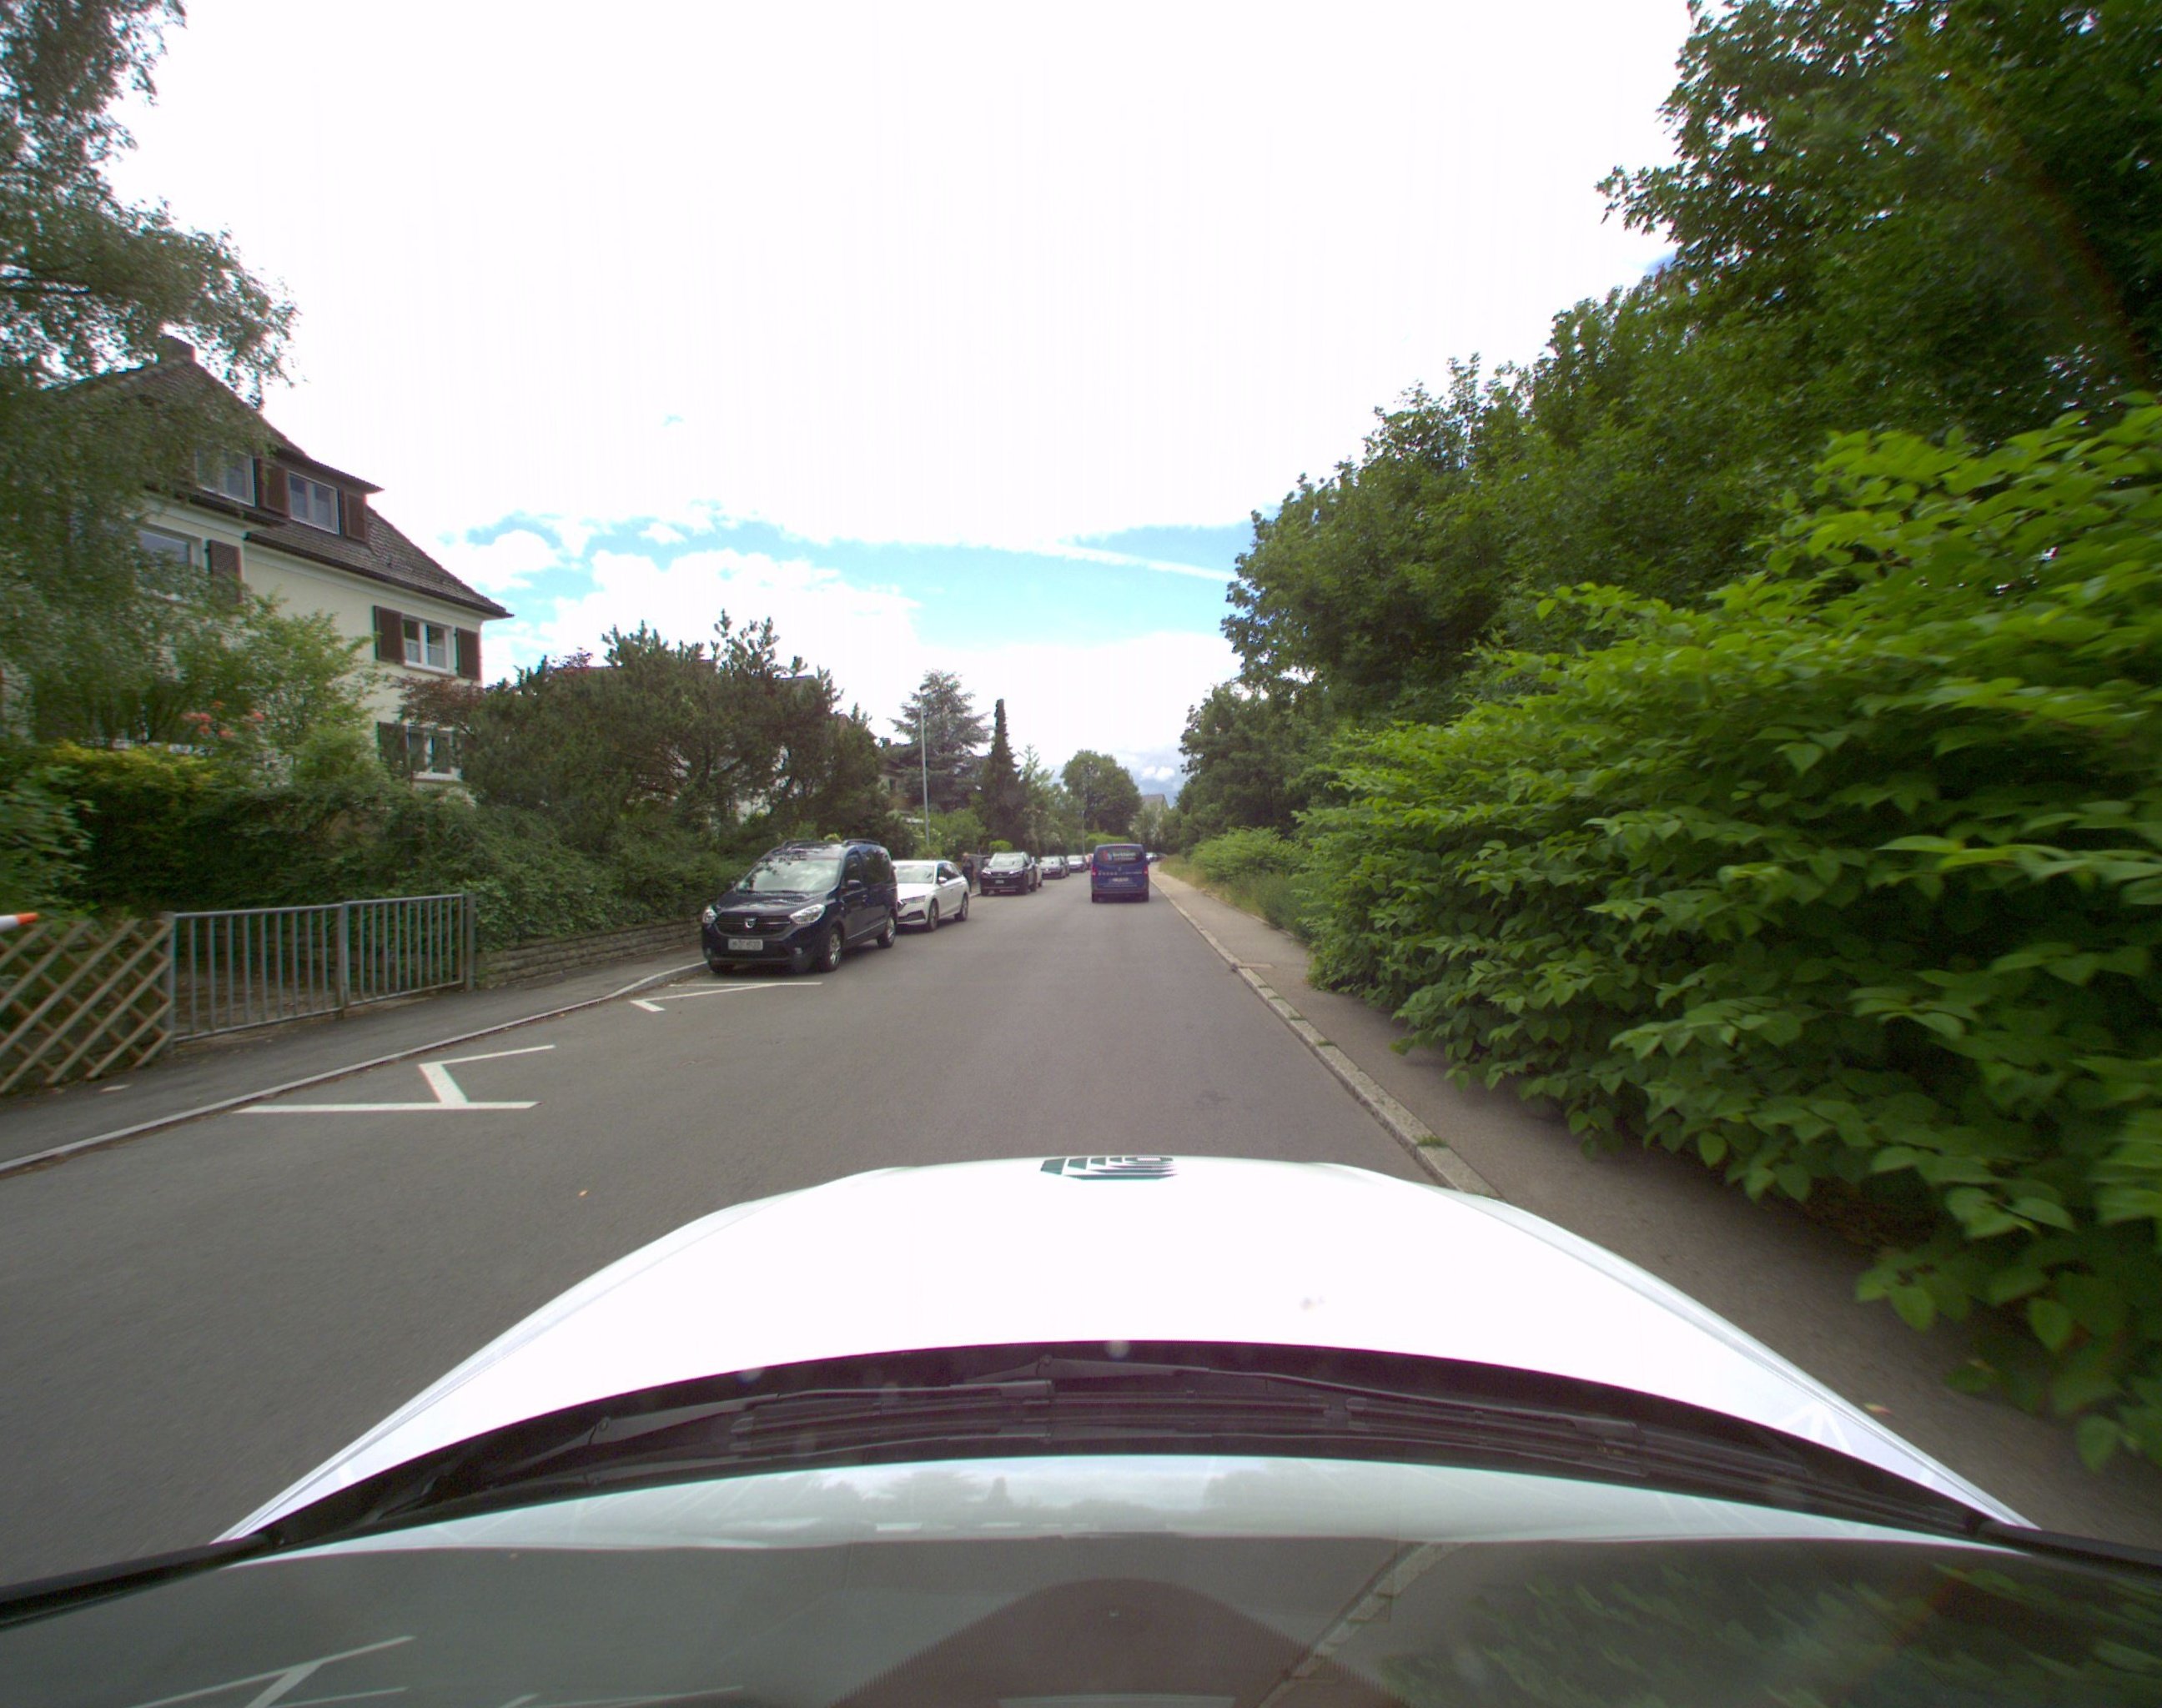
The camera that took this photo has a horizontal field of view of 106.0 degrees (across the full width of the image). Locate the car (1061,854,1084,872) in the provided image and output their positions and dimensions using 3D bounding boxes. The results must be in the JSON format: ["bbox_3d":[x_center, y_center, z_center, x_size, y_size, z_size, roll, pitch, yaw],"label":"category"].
[{"bbox_3d":[-0.678,0.766,69.546,1.700,1.410,4.164,-1,0,3],"label":"car"}]

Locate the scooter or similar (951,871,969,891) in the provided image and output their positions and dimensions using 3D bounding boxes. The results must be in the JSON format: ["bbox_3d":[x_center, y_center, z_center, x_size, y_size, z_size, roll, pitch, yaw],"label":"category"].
[{"bbox_3d":[-5.012,1.121,33.746,0.569,0.778,0.712,-1,0,1],"label":"scooter or similar"}]

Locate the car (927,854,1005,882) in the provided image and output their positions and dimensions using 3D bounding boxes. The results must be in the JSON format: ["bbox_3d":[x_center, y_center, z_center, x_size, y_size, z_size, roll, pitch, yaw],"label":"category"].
[{"bbox_3d":[-6.549,0.755,46.289,3.956,1.547,1.850,0,0,17],"label":"car"}]

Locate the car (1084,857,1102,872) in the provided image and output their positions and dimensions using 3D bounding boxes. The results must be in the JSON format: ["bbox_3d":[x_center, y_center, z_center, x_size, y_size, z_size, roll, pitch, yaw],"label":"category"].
[{"bbox_3d":[1.320,1.123,88.141,1.535,1.514,3.652,-1,0,8],"label":"car"}]

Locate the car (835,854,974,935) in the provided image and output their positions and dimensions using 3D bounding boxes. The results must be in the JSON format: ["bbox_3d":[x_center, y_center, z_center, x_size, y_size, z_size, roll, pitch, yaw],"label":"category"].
[{"bbox_3d":[-3.715,0.784,18.017,1.699,1.511,4.560,-1,0,5],"label":"car"}]

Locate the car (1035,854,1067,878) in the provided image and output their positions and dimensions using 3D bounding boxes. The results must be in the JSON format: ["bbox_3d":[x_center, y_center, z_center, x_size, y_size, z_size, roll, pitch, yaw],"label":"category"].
[{"bbox_3d":[-1.879,0.753,52.534,1.700,1.416,4.152,-1,0,3],"label":"car"}]

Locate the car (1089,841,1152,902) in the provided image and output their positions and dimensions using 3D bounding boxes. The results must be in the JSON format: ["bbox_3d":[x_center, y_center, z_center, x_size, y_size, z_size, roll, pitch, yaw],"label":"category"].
[{"bbox_3d":[1.315,0.540,27.676,1.929,1.880,4.532,-1,0,2],"label":"car"}]

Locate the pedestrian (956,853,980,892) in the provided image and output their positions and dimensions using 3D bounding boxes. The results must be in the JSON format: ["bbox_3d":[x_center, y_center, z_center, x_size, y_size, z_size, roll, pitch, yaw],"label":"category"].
[{"bbox_3d":[-4.607,0.751,33.253,0.766,1.574,0.821,-1,0,4],"label":"pedestrian"}]

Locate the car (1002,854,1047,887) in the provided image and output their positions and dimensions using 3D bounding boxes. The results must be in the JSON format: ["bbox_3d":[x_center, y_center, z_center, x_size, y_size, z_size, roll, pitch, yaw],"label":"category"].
[{"bbox_3d":[-2.715,0.762,39.719,1.700,1.511,3.949,-1,0,3],"label":"car"}]

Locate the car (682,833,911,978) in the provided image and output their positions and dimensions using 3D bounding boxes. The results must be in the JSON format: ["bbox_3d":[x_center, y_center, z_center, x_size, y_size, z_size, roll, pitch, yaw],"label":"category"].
[{"bbox_3d":[-4.053,0.651,12.432,1.699,1.799,4.302,-1,0,4],"label":"car"}]

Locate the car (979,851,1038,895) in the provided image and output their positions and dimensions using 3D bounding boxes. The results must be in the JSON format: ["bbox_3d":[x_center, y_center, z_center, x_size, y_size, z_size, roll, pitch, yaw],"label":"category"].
[{"bbox_3d":[-2.874,0.719,33.362,1.784,1.664,4.395,-1,0,3],"label":"car"}]

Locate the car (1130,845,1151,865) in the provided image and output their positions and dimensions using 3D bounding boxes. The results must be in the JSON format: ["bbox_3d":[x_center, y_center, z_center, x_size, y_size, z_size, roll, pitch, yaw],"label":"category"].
[{"bbox_3d":[6.378,0.106,87.099,2.196,2.063,6.142,-1,0,4],"label":"car"}]

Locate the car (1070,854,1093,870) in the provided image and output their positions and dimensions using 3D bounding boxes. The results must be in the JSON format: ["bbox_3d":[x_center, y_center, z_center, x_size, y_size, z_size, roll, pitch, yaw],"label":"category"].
[{"bbox_3d":[0.074,0.750,80.464,1.697,1.514,4.373,-1,0,8],"label":"car"}]
